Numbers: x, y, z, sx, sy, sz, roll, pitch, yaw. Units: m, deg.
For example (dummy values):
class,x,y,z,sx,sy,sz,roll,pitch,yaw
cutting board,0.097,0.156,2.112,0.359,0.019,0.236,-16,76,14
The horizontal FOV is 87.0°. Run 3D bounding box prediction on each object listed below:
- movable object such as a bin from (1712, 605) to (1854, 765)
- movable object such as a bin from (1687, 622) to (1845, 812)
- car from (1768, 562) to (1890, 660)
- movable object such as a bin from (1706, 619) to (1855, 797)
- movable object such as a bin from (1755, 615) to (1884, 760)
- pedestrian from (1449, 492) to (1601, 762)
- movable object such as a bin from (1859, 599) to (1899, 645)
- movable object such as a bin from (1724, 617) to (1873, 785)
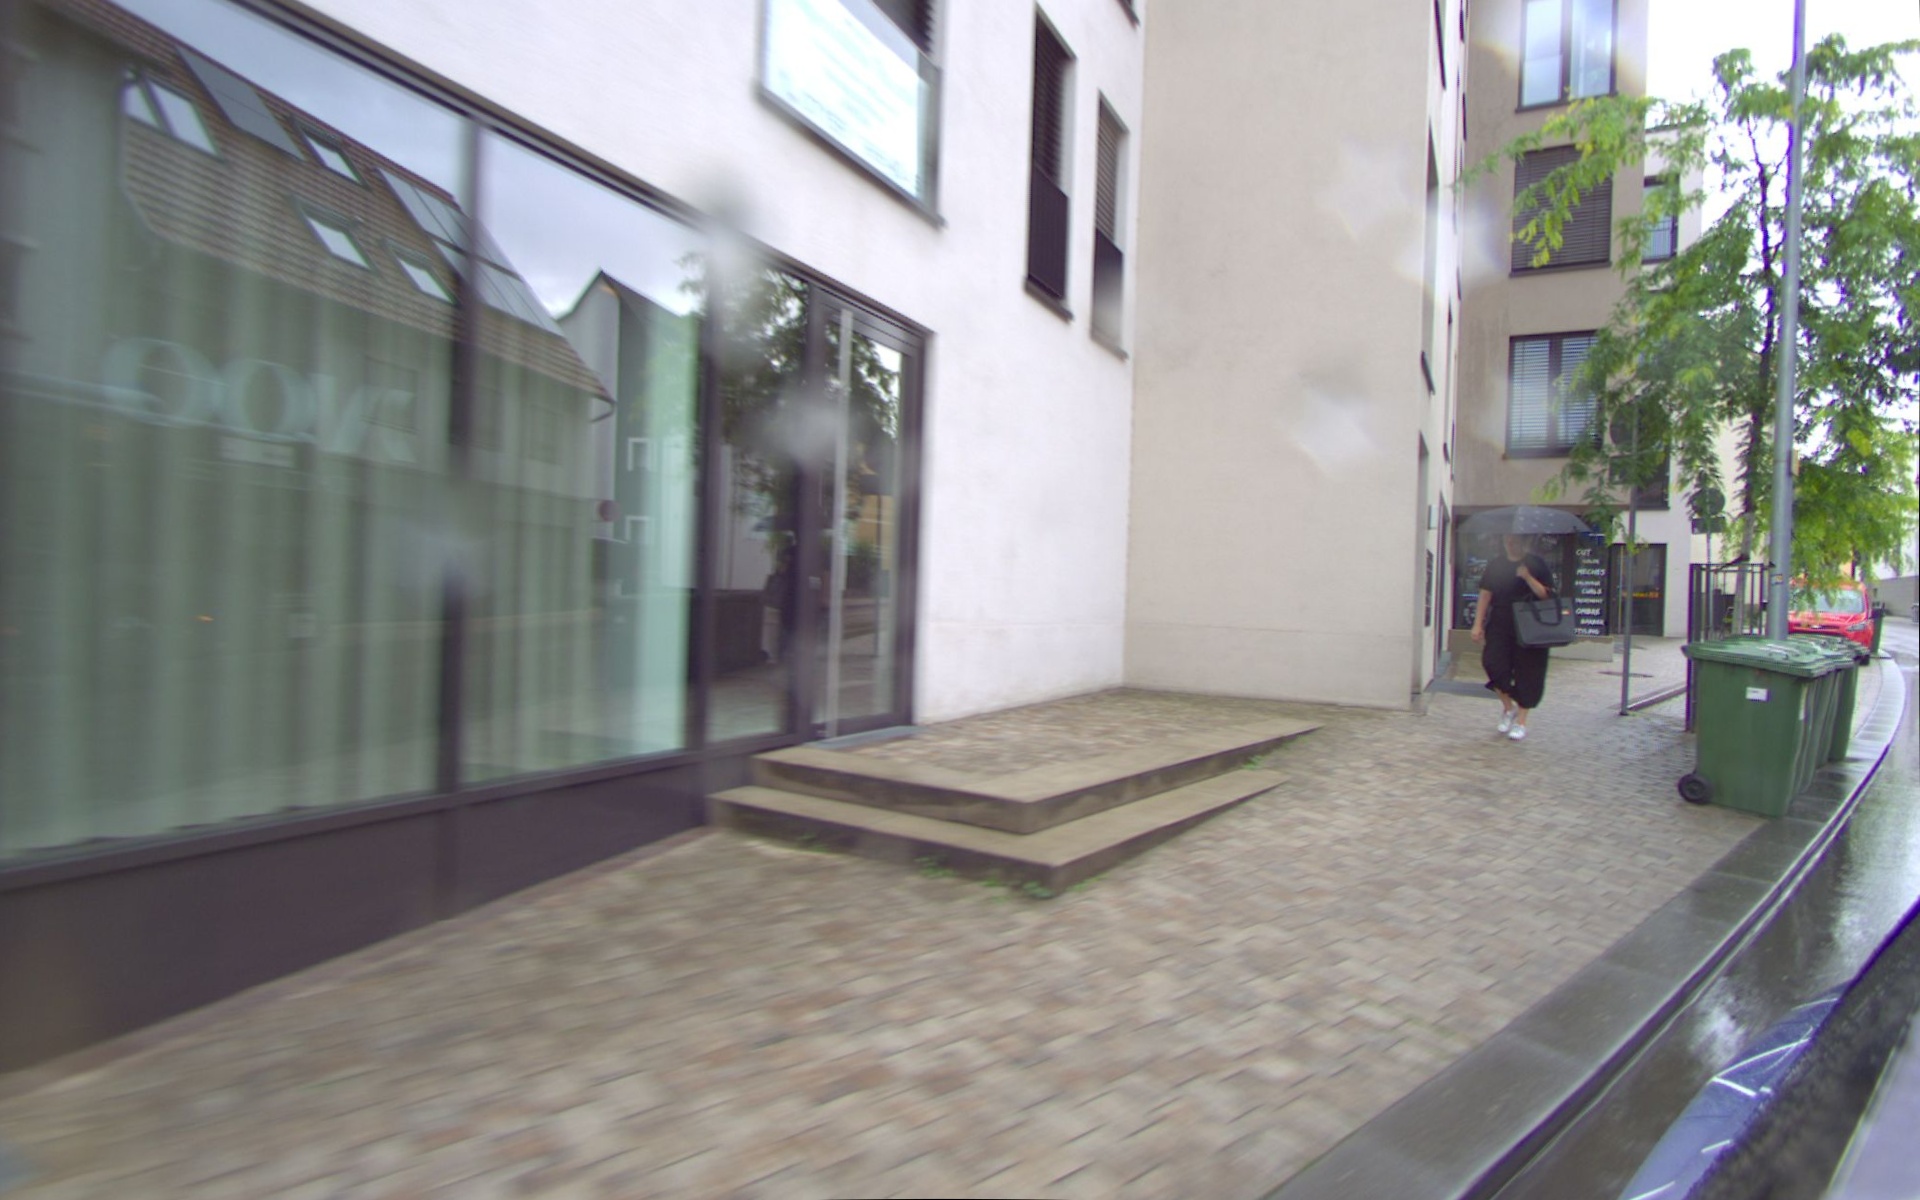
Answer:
class,x,y,z,sx,sy,sz,roll,pitch,yaw
movable object such as a bin,6.725,0.659,8.281,0.619,1.185,0.753,0,3,-39
movable object such as a bin,5.319,0.727,6.688,0.567,1.132,0.725,0,1,-42
car,19.675,0.153,22.842,1.836,1.930,4.533,4,4,43
movable object such as a bin,5.754,0.717,7.106,0.567,1.132,0.725,0,1,-42
movable object such as a bin,7.736,0.756,9.115,0.619,1.185,0.753,0,3,-39
pedestrian,4.662,0.190,8.337,0.867,2.039,1.066,1,1,42
movable object such as a bin,23.274,0.547,25.636,0.709,1.101,0.592,3,2,42
movable object such as a bin,6.209,0.706,7.503,0.613,1.132,0.762,0,1,-42
